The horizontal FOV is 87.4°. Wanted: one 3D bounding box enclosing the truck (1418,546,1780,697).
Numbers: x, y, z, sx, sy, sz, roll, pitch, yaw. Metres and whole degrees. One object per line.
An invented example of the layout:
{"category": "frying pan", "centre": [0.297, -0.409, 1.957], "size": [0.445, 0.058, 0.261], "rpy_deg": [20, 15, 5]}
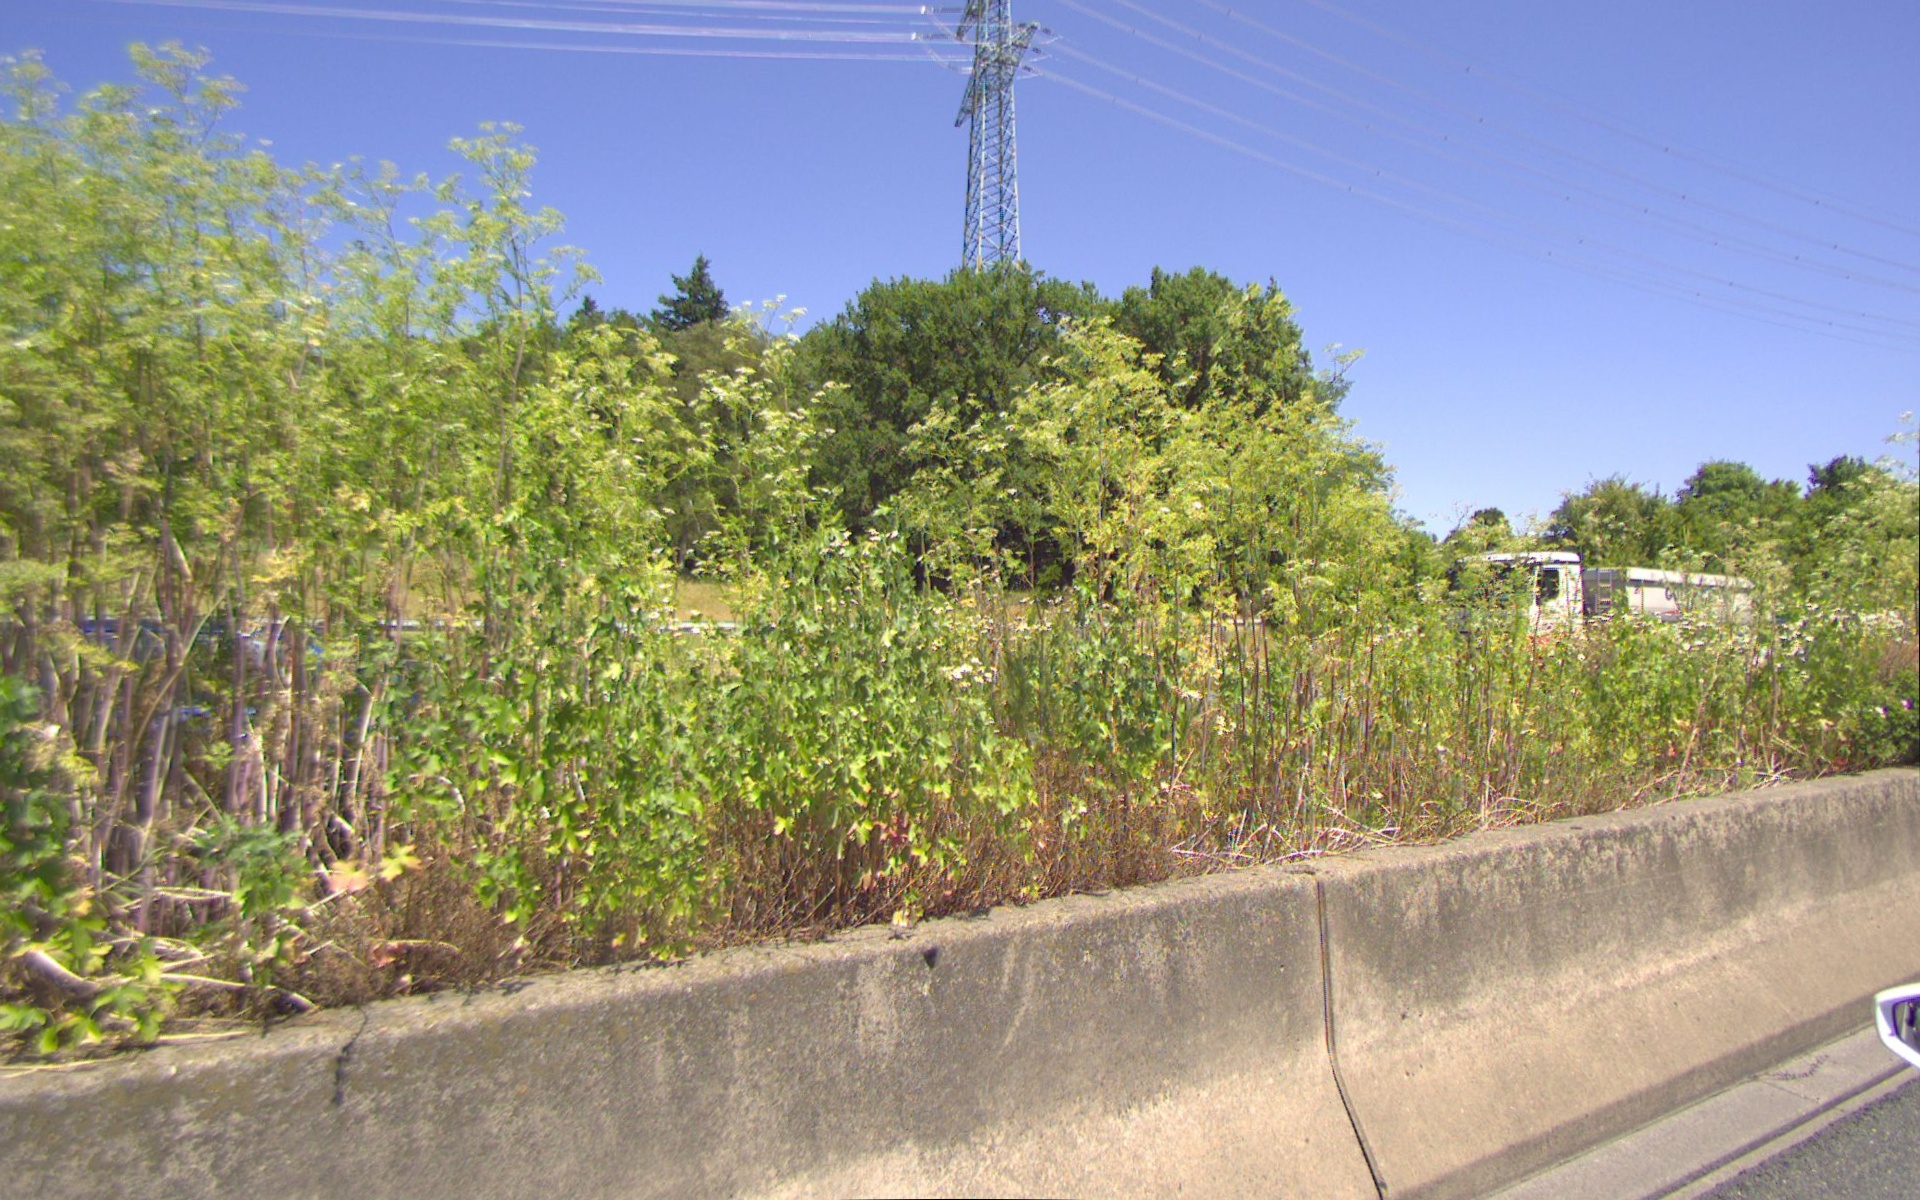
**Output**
{"category": "truck", "centre": [17.012, 0.631, 26.291], "size": [11.674, 3.332, 2.753], "rpy_deg": [2, -1, -29]}
